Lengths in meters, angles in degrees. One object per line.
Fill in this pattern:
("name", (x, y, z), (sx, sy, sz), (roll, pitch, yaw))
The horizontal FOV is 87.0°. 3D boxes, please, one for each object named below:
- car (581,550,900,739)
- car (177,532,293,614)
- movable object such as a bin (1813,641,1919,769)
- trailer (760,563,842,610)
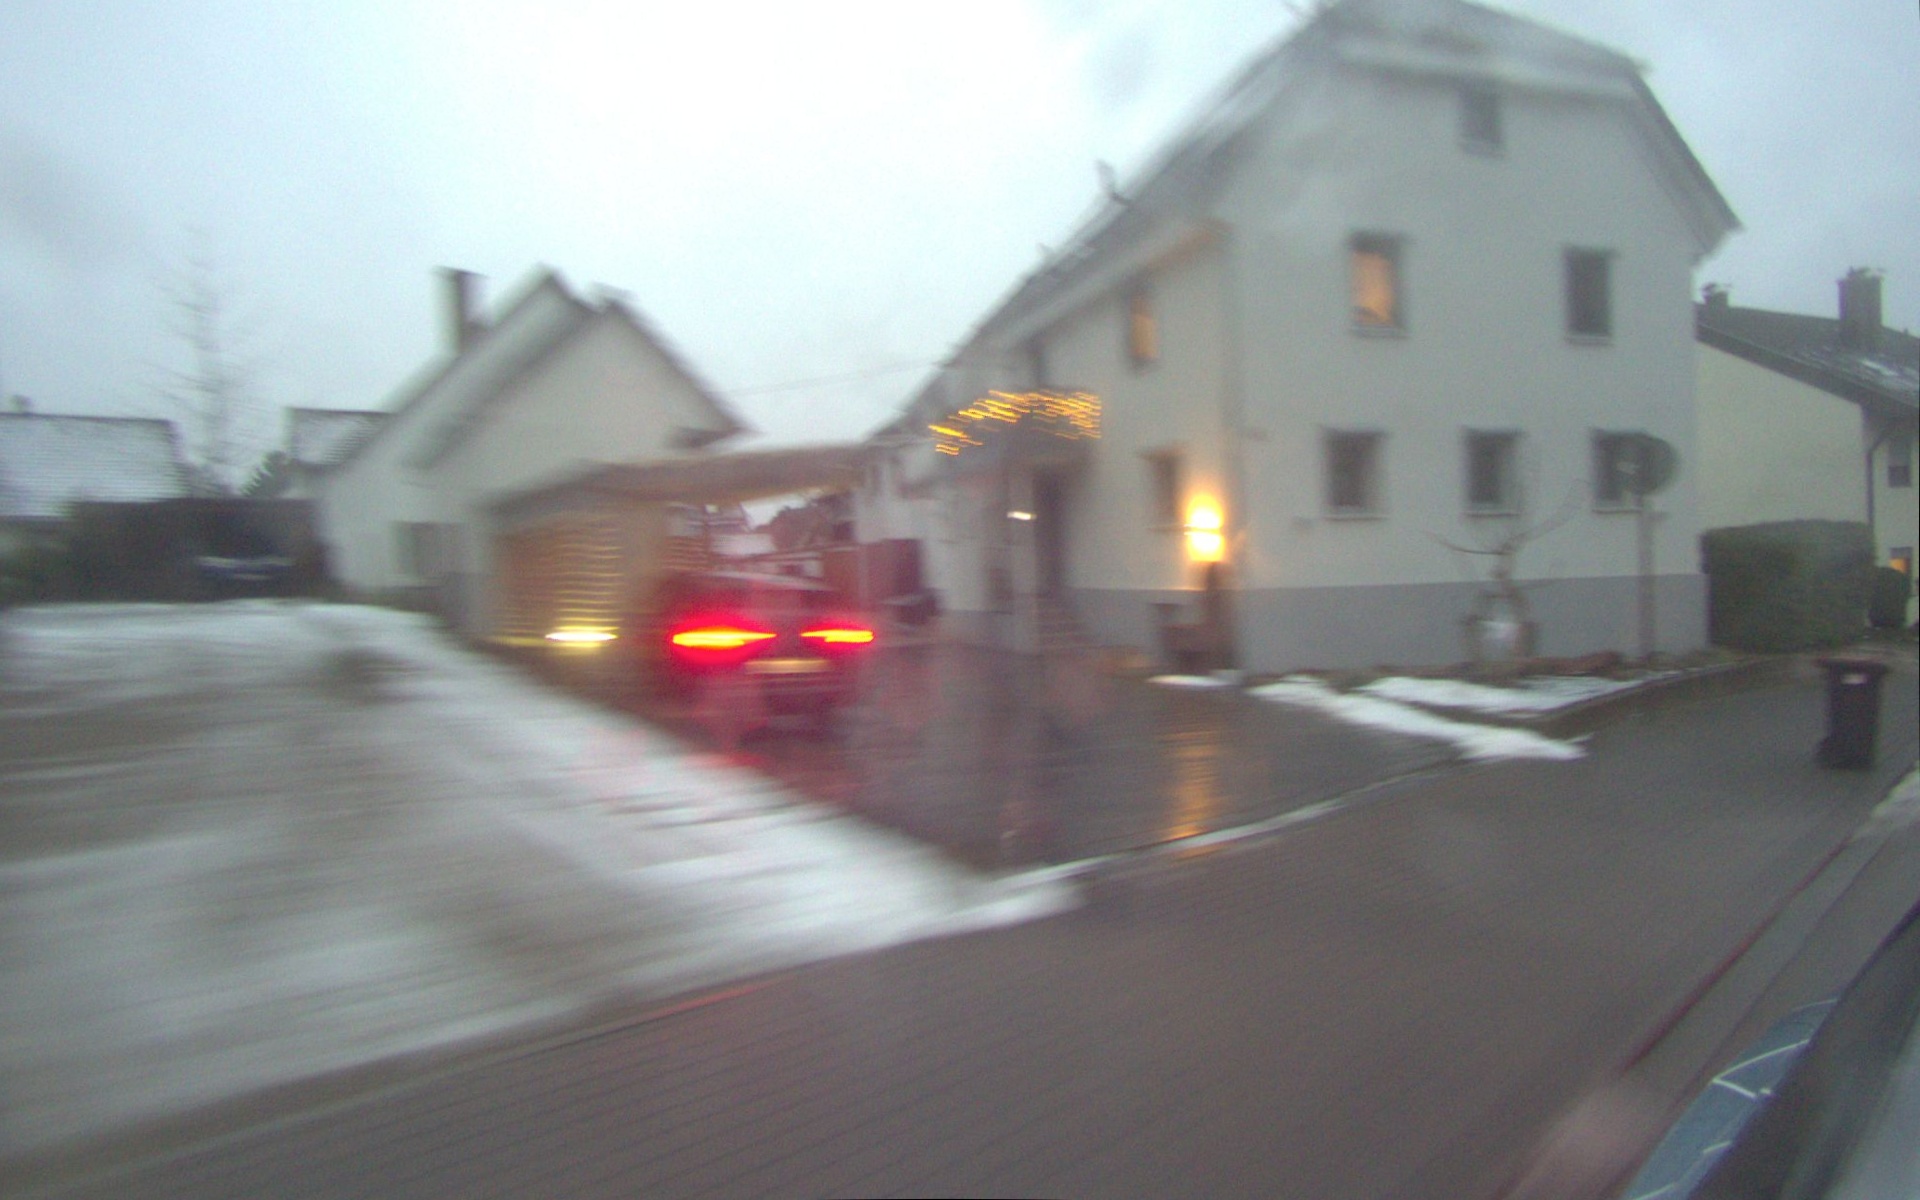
("car", (-2.540, 0.394, 10.960), (1.962, 1.638, 3.999), (1, -1, -36))
("car", (-17.452, -0.599, 24.286), (1.680, 1.654, 3.988), (-2, -1, -44))
("movable object such as a bin", (7.411, 0.819, 8.183), (0.673, 0.929, 0.639), (-1, 0, -36))
("trailer", (-5.145, -0.462, 32.411), (1.581, 1.337, 3.790), (-3, 2, -24))
